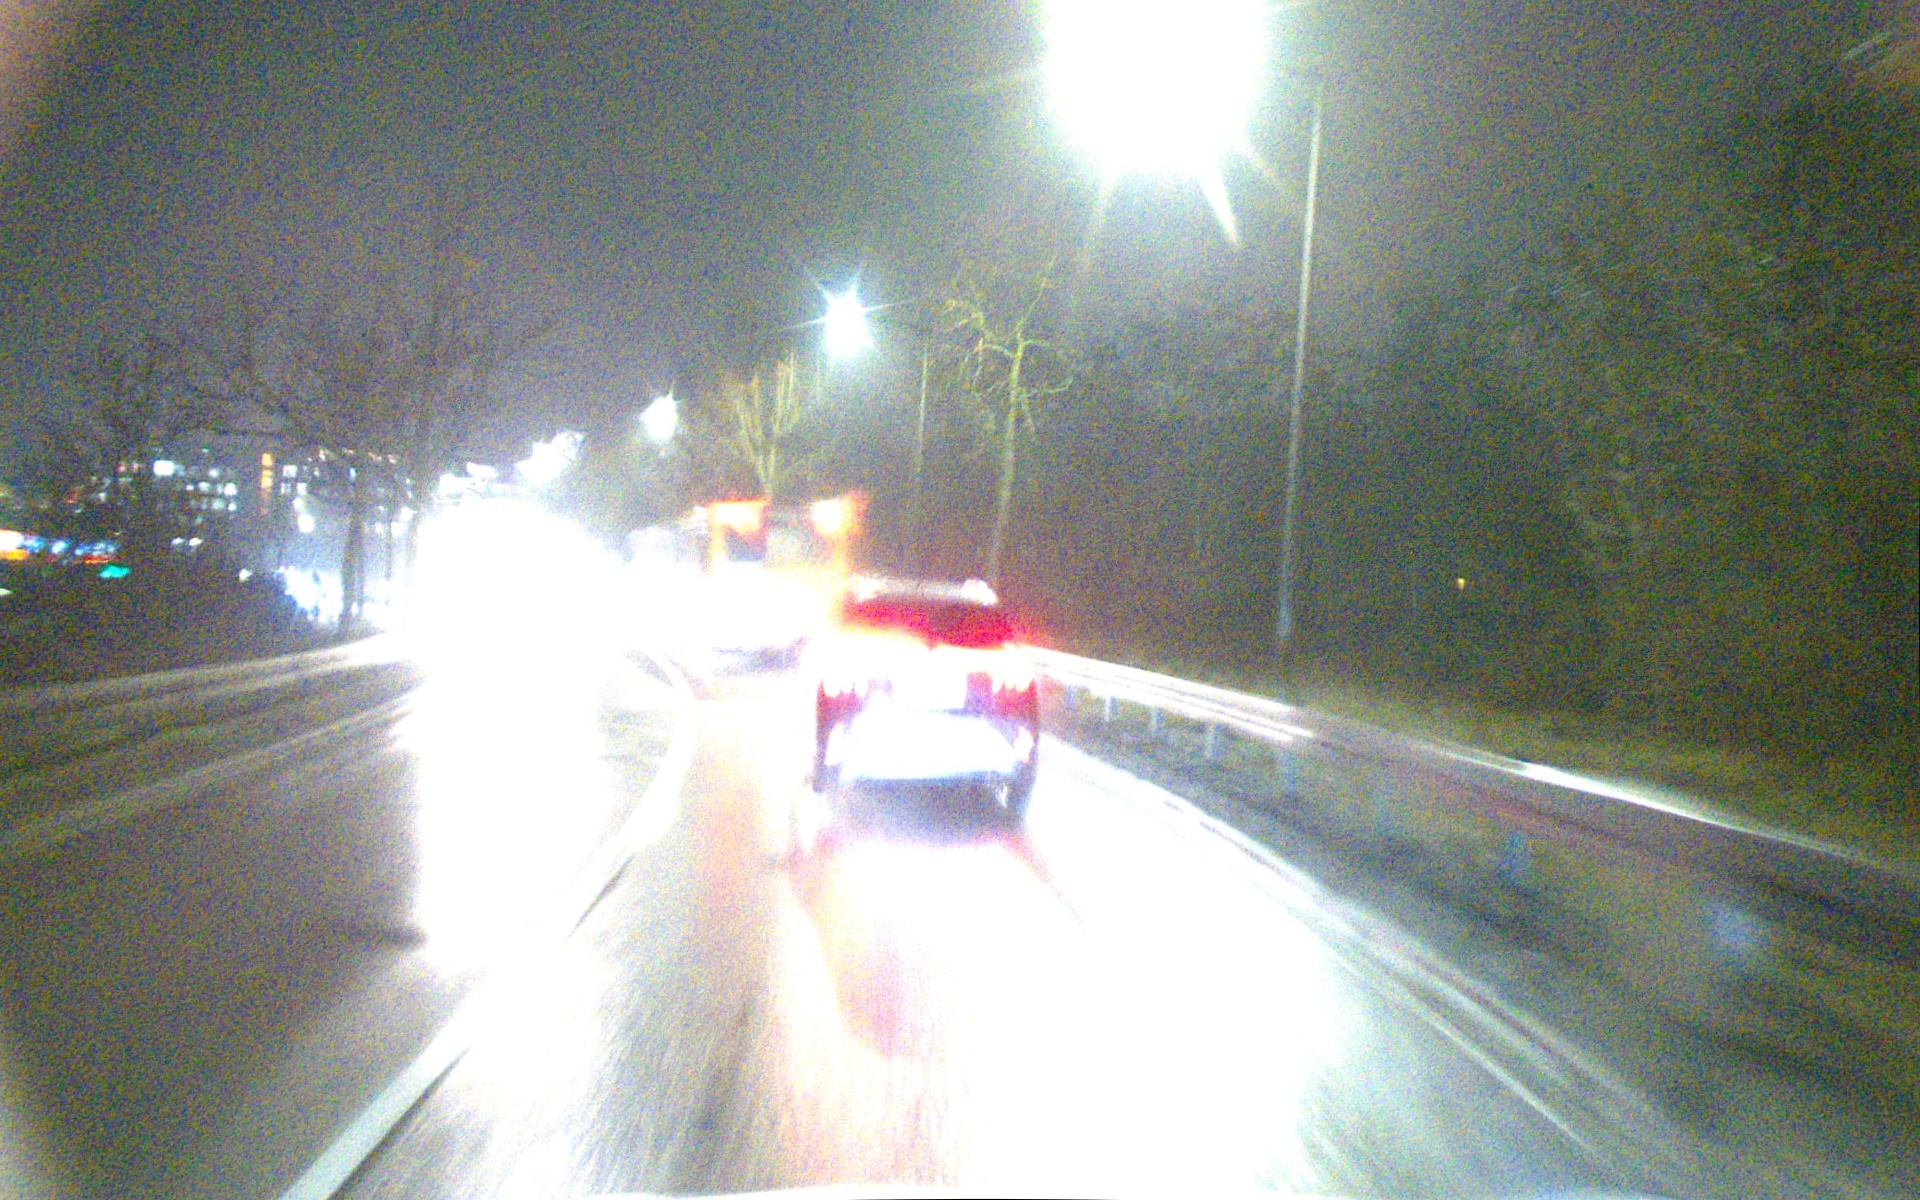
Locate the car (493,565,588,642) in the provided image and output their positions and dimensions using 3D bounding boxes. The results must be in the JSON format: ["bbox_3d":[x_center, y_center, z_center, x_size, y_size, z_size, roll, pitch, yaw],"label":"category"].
[{"bbox_3d":[-11.846,0.076,46.409,2.410,2.022,5.469,0,1,-16],"label":"car"}]

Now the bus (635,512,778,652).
[{"bbox_3d":[-6.803,-0.453,43.211,2.991,3.268,9.019,0,0,-13],"label":"bus"}]

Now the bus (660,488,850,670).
[{"bbox_3d":[-4.497,-0.413,34.476,2.991,3.268,9.019,0,0,-13],"label":"bus"}]

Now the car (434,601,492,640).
[{"bbox_3d":[-19.876,0.797,66.052,1.706,1.429,3.833,-1,1,-24],"label":"car"}]

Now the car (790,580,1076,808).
[{"bbox_3d":[-0.325,0.638,13.384,1.954,1.551,3.997,1,0,-4],"label":"car"}]
